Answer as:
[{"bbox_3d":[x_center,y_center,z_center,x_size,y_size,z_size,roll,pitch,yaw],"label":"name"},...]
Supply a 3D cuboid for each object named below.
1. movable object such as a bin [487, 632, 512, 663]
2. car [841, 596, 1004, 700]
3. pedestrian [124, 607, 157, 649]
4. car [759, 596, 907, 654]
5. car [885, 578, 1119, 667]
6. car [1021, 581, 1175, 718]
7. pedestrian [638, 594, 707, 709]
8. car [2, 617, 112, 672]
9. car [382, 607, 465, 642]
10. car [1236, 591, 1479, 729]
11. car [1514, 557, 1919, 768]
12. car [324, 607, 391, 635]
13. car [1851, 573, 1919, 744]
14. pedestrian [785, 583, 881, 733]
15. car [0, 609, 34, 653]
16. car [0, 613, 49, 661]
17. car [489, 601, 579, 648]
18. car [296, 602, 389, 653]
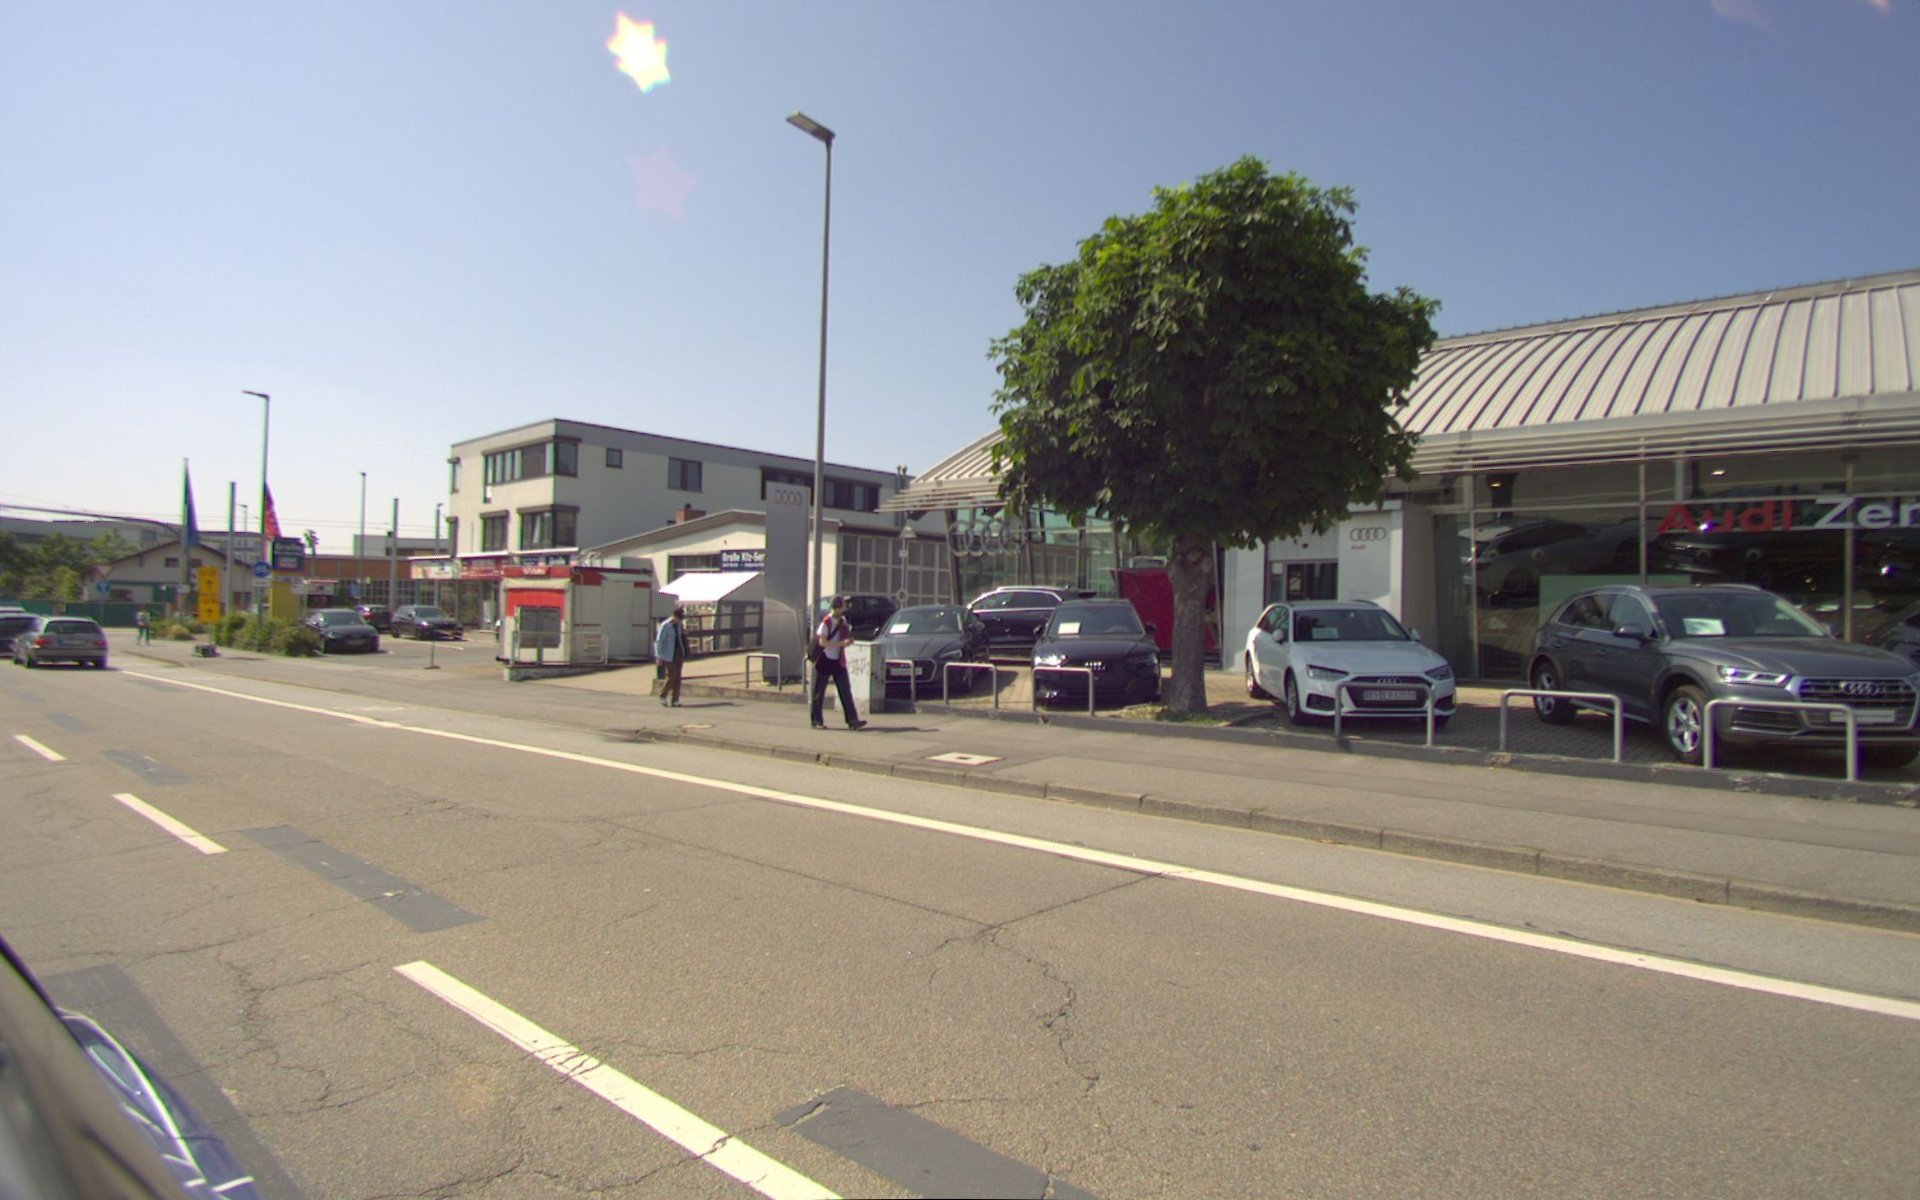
[{"bbox_3d":[-14.284,1.464,31.404,0.564,0.929,0.691,-1,0,-36],"label":"movable object such as a bin"},{"bbox_3d":[-0.513,0.747,17.753,1.888,1.470,4.145,-2,1,12],"label":"car"},{"bbox_3d":[-33.555,1.140,41.446,0.981,1.698,0.801,2,-2,-38],"label":"pedestrian"},{"bbox_3d":[-3.584,0.684,29.045,1.897,1.536,3.943,-1,-1,43],"label":"car"},{"bbox_3d":[0.909,0.445,22.128,4.707,1.732,1.983,0,2,26],"label":"car"},{"bbox_3d":[2.054,0.630,15.855,1.941,1.620,4.476,-4,2,6],"label":"car"},{"bbox_3d":[-4.798,0.842,16.879,0.911,1.862,0.715,-1,-2,42],"label":"pedestrian"},{"bbox_3d":[-25.361,1.230,28.386,4.322,1.415,1.723,-1,-3,41],"label":"car"},{"bbox_3d":[-23.138,1.066,43.602,4.420,1.432,1.886,-1,-2,44],"label":"car"},{"bbox_3d":[4.938,0.639,13.251,1.851,1.506,4.196,0,1,5],"label":"car"},{"bbox_3d":[7.752,0.533,10.480,1.836,1.709,4.572,0,-1,5],"label":"car"},{"bbox_3d":[-31.408,1.082,52.672,4.486,1.399,1.886,-1,-2,44],"label":"car"},{"bbox_3d":[10.463,0.599,8.715,1.887,1.720,4.474,0,0,5],"label":"car"},{"bbox_3d":[-1.681,0.744,13.343,1.046,1.882,0.725,-1,-2,40],"label":"pedestrian"},{"bbox_3d":[-39.555,1.250,41.625,4.354,1.772,1.872,-1,-2,44],"label":"car"},{"bbox_3d":[-30.929,1.163,32.886,4.242,1.465,1.642,-1,-4,44],"label":"car"},{"bbox_3d":[-17.683,0.995,41.928,1.885,1.721,4.482,2,0,-45],"label":"car"},{"bbox_3d":[-22.518,0.992,36.852,4.000,1.728,1.884,-1,-2,43],"label":"car"}]
